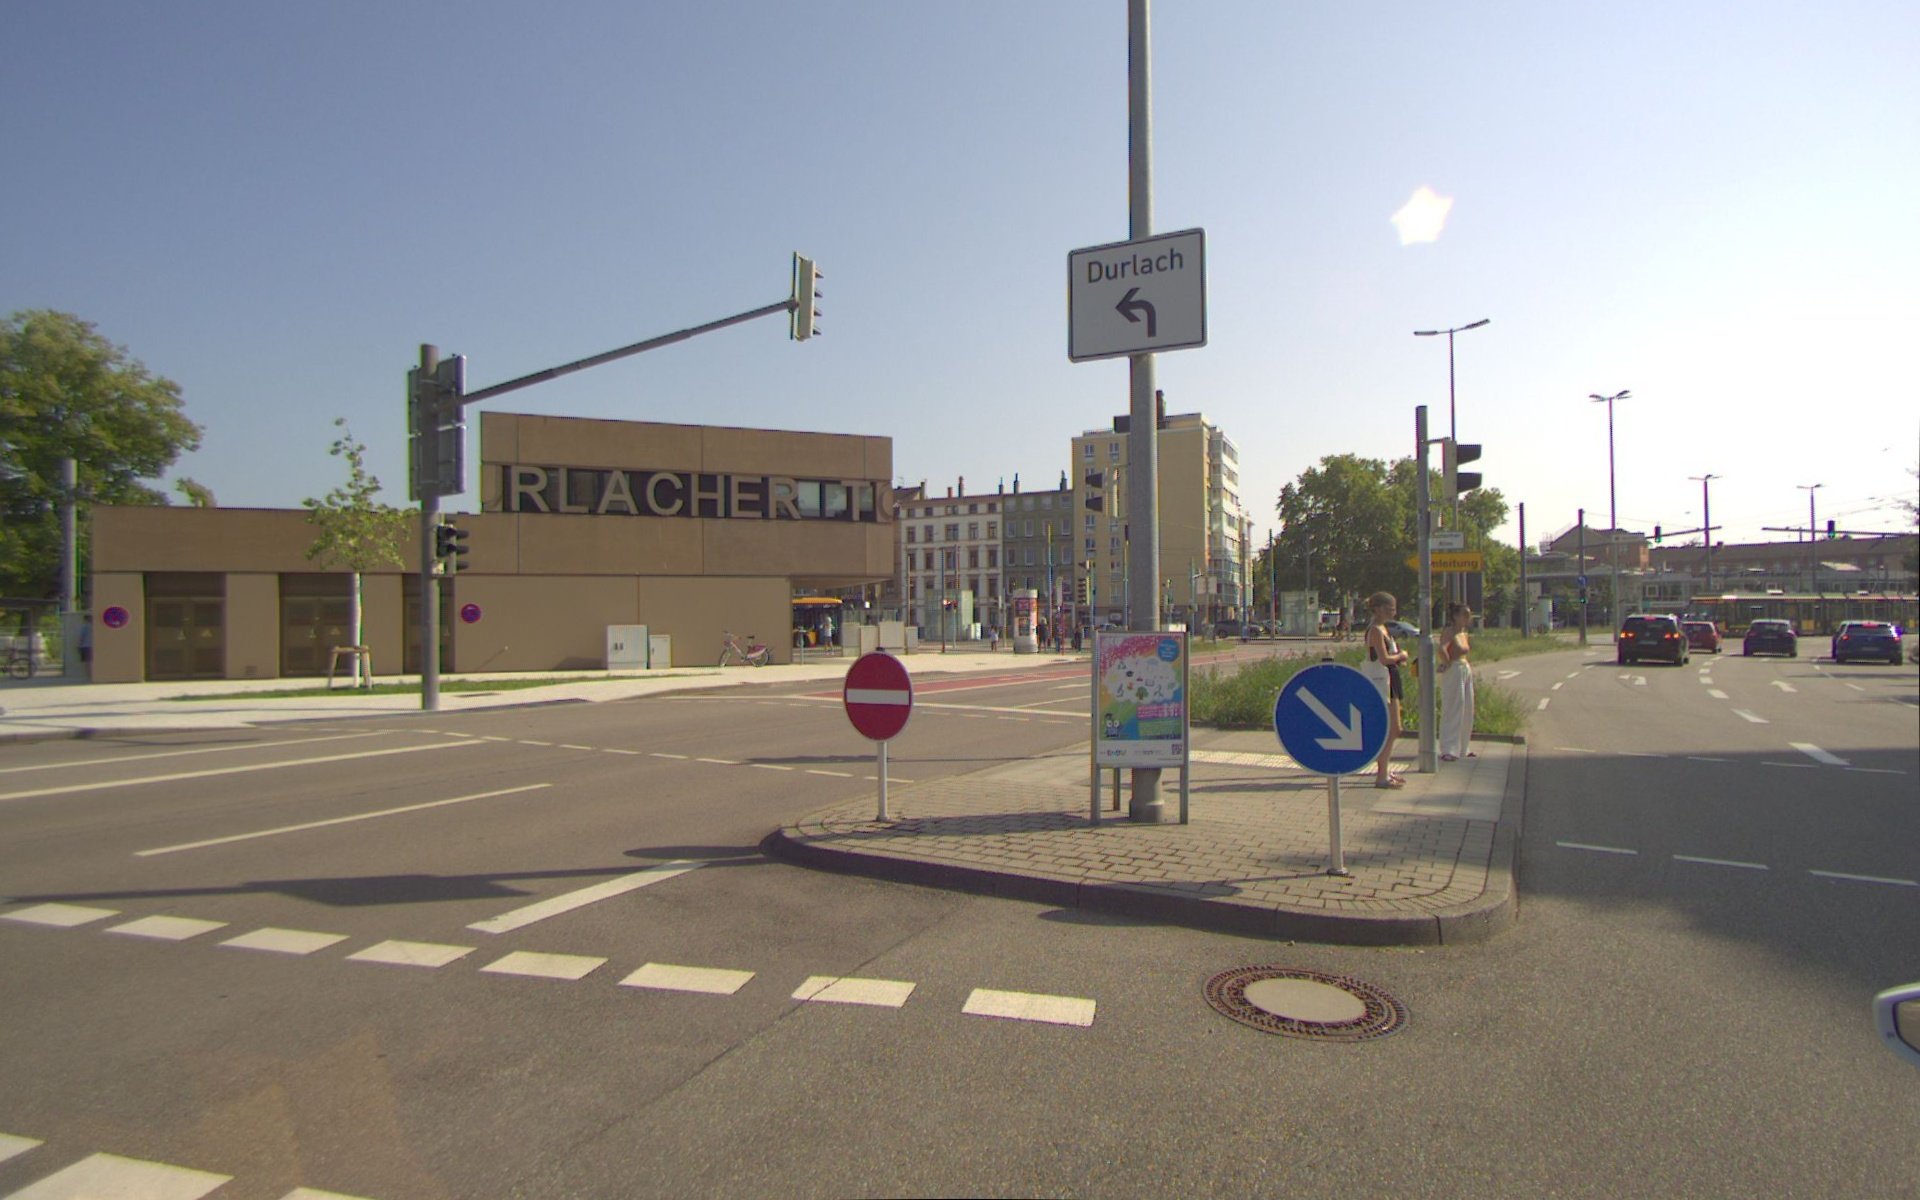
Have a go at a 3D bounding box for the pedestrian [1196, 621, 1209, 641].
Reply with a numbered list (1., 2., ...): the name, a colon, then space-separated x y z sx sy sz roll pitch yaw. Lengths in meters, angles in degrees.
1. pedestrian: 20.974 2.704 86.822 0.907 1.712 0.922 0 -1 23

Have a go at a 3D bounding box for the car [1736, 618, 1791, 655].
1. car: 35.309 1.567 44.199 1.803 1.556 4.394 -2 -2 38

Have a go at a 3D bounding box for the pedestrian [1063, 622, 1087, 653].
1. pedestrian: 5.941 1.936 51.817 0.973 1.579 0.863 0 -1 -15

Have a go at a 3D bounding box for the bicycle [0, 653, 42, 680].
1. bicycle: -29.661 2.061 30.963 1.904 0.790 0.626 0 -1 -28

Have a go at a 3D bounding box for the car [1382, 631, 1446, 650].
1. car: 35.175 3.126 77.864 4.160 1.452 1.812 -2 -2 39

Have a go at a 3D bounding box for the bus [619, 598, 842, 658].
1. bus: -12.842 1.543 56.654 12.036 3.149 2.703 0 -1 -22

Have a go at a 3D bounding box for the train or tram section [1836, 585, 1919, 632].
1. train or tram section: 76.665 0.720 83.642 10.471 3.748 2.724 0 -1 -32

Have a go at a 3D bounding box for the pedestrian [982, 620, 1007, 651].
1. pedestrian: 1.768 1.803 51.100 0.858 1.583 0.980 1 -2 -36

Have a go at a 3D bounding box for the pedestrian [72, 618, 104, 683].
1. pedestrian: -23.729 1.368 27.331 0.400 1.728 0.525 -1 -1 1

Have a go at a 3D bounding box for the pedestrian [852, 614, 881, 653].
1. pedestrian: -4.203 1.517 45.291 0.972 1.727 0.865 -1 -1 27

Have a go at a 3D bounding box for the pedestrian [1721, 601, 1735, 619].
1. pedestrian: 68.952 0.895 90.153 0.702 1.523 0.774 0 -1 -29

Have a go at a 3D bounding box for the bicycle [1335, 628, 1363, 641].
1. bicycle: 27.676 2.465 71.530 1.786 0.944 0.725 -1 -1 29

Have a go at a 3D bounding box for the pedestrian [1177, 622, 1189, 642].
1. pedestrian: 19.468 2.783 87.615 0.907 1.712 0.922 0 -1 23

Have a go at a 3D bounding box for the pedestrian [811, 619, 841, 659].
1. pedestrian: -5.830 1.697 43.836 0.972 1.694 0.865 -1 -1 27

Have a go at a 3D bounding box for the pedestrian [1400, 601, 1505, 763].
1. pedestrian: 5.304 0.857 10.840 0.768 1.676 0.665 0 -1 -25

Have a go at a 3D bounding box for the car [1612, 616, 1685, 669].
1. car: 24.128 1.428 35.139 1.803 1.736 4.394 -2 -2 38

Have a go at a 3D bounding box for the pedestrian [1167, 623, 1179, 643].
1. pedestrian: 18.696 2.874 88.271 0.907 1.712 0.922 0 -1 23

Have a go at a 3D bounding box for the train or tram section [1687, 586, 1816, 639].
1. train or tram section: 58.306 0.900 73.916 10.435 3.748 2.650 0 -1 -22

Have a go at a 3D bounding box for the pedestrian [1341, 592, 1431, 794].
1. pedestrian: 3.826 0.802 9.006 0.657 1.721 0.690 -1 -1 29

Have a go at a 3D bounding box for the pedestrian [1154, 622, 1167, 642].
1. pedestrian: 17.582 2.785 88.007 0.907 1.712 0.922 0 -1 23

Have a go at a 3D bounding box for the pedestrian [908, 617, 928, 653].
1. pedestrian: -2.144 1.774 50.972 0.767 1.824 0.699 -1 -1 33

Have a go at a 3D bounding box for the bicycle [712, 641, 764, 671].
1. bicycle: -6.917 1.743 31.313 1.524 0.849 0.590 0 2 -21

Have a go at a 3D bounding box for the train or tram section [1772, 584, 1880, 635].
1. train or tram section: 67.668 0.743 78.388 10.453 3.748 2.697 0 -1 -28

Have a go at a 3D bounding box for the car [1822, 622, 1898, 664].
1. car: 33.704 1.588 37.700 1.803 1.447 4.394 -2 -2 38

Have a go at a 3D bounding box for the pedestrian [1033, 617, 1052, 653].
1. pedestrian: 4.266 1.794 51.863 0.767 1.824 0.699 -1 -1 33

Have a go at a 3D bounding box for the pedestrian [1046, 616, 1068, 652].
1. pedestrian: 4.934 1.740 51.120 0.788 1.824 0.776 -1 -2 43

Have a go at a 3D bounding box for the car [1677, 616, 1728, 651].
1. car: 35.359 1.558 47.766 1.803 1.556 4.394 -2 -2 38
